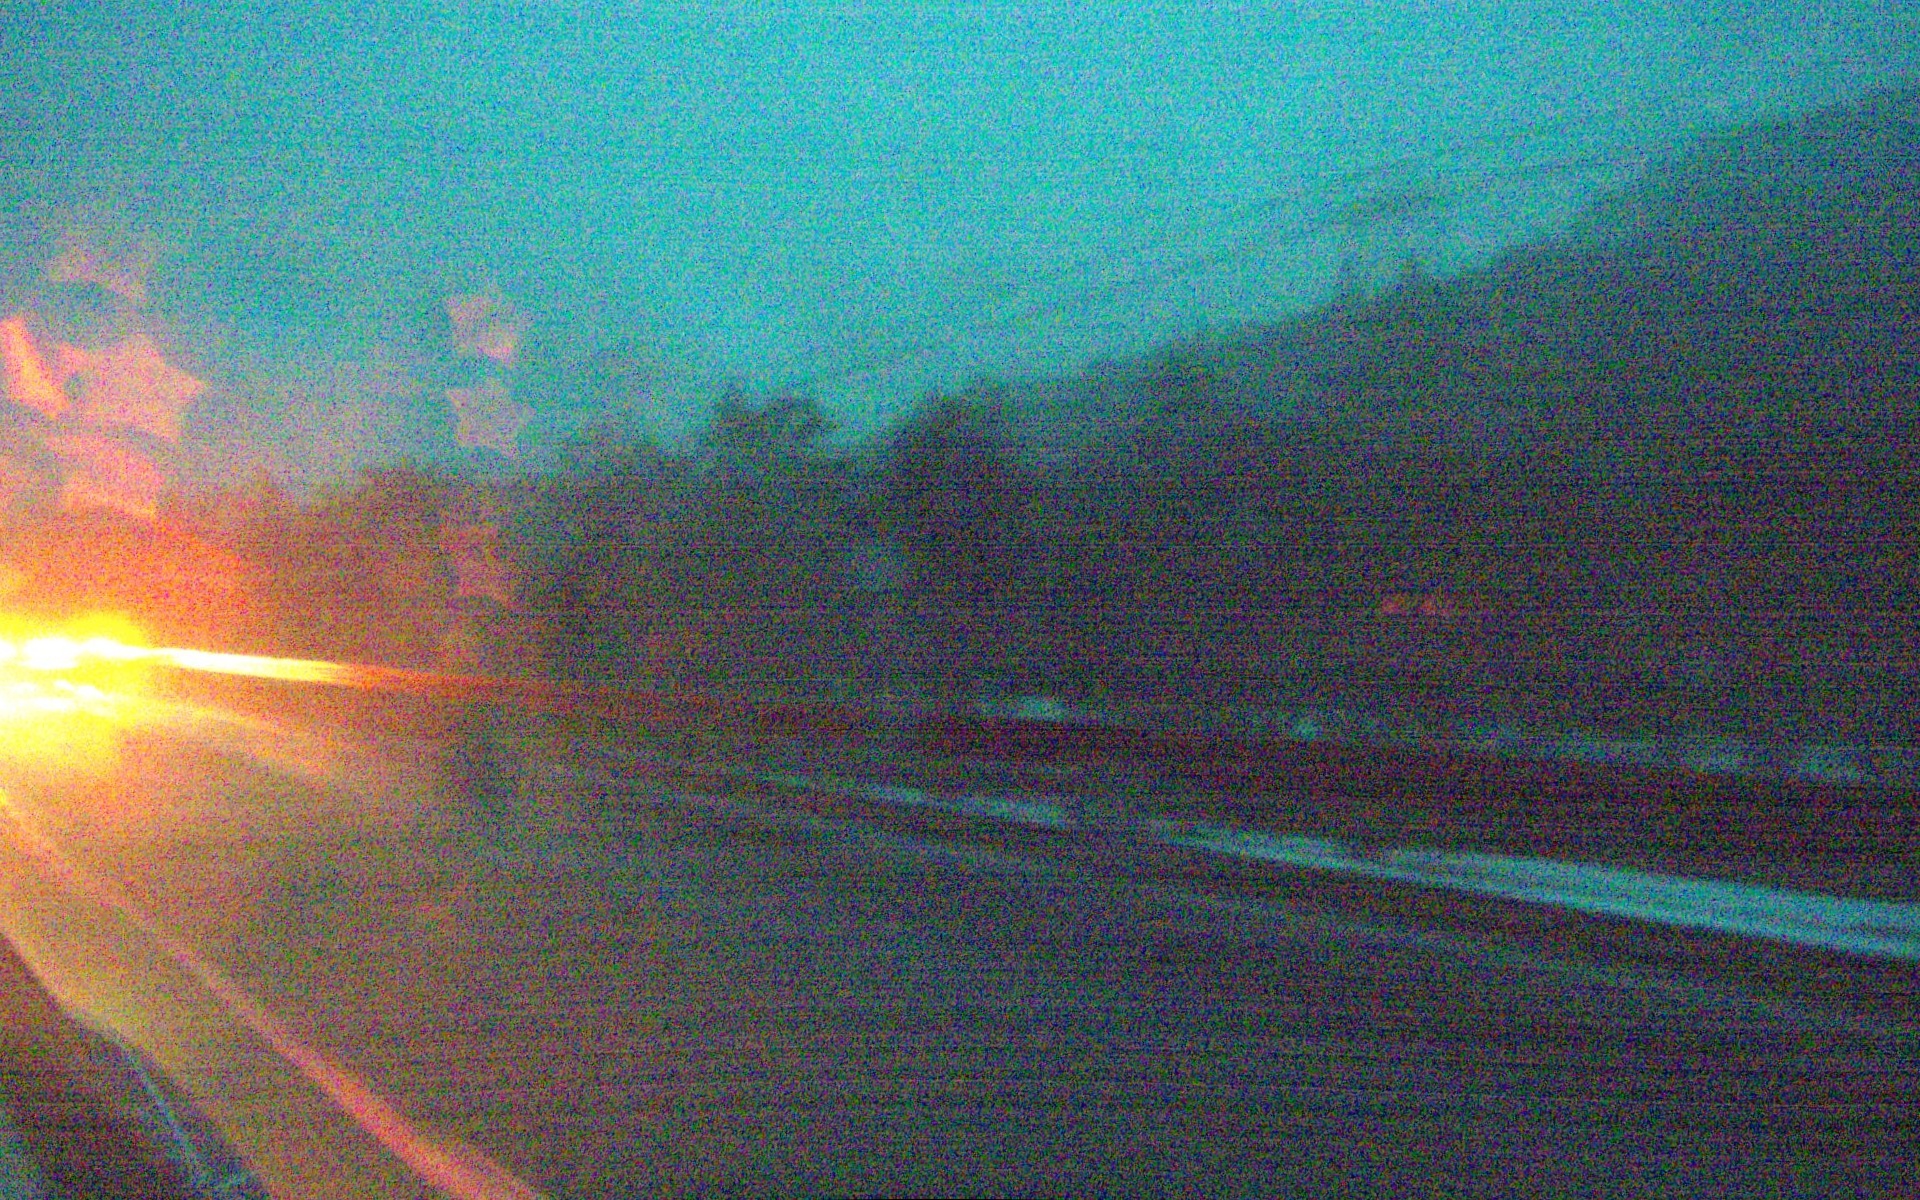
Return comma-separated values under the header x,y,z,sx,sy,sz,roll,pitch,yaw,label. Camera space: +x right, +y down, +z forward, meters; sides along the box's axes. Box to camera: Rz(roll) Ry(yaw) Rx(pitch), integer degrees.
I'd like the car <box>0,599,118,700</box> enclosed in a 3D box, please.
x,y,z,sx,sy,sz,roll,pitch,yaw,label
-18.466,0.928,20.151,4.244,1.806,1.973,-1,0,41,car
